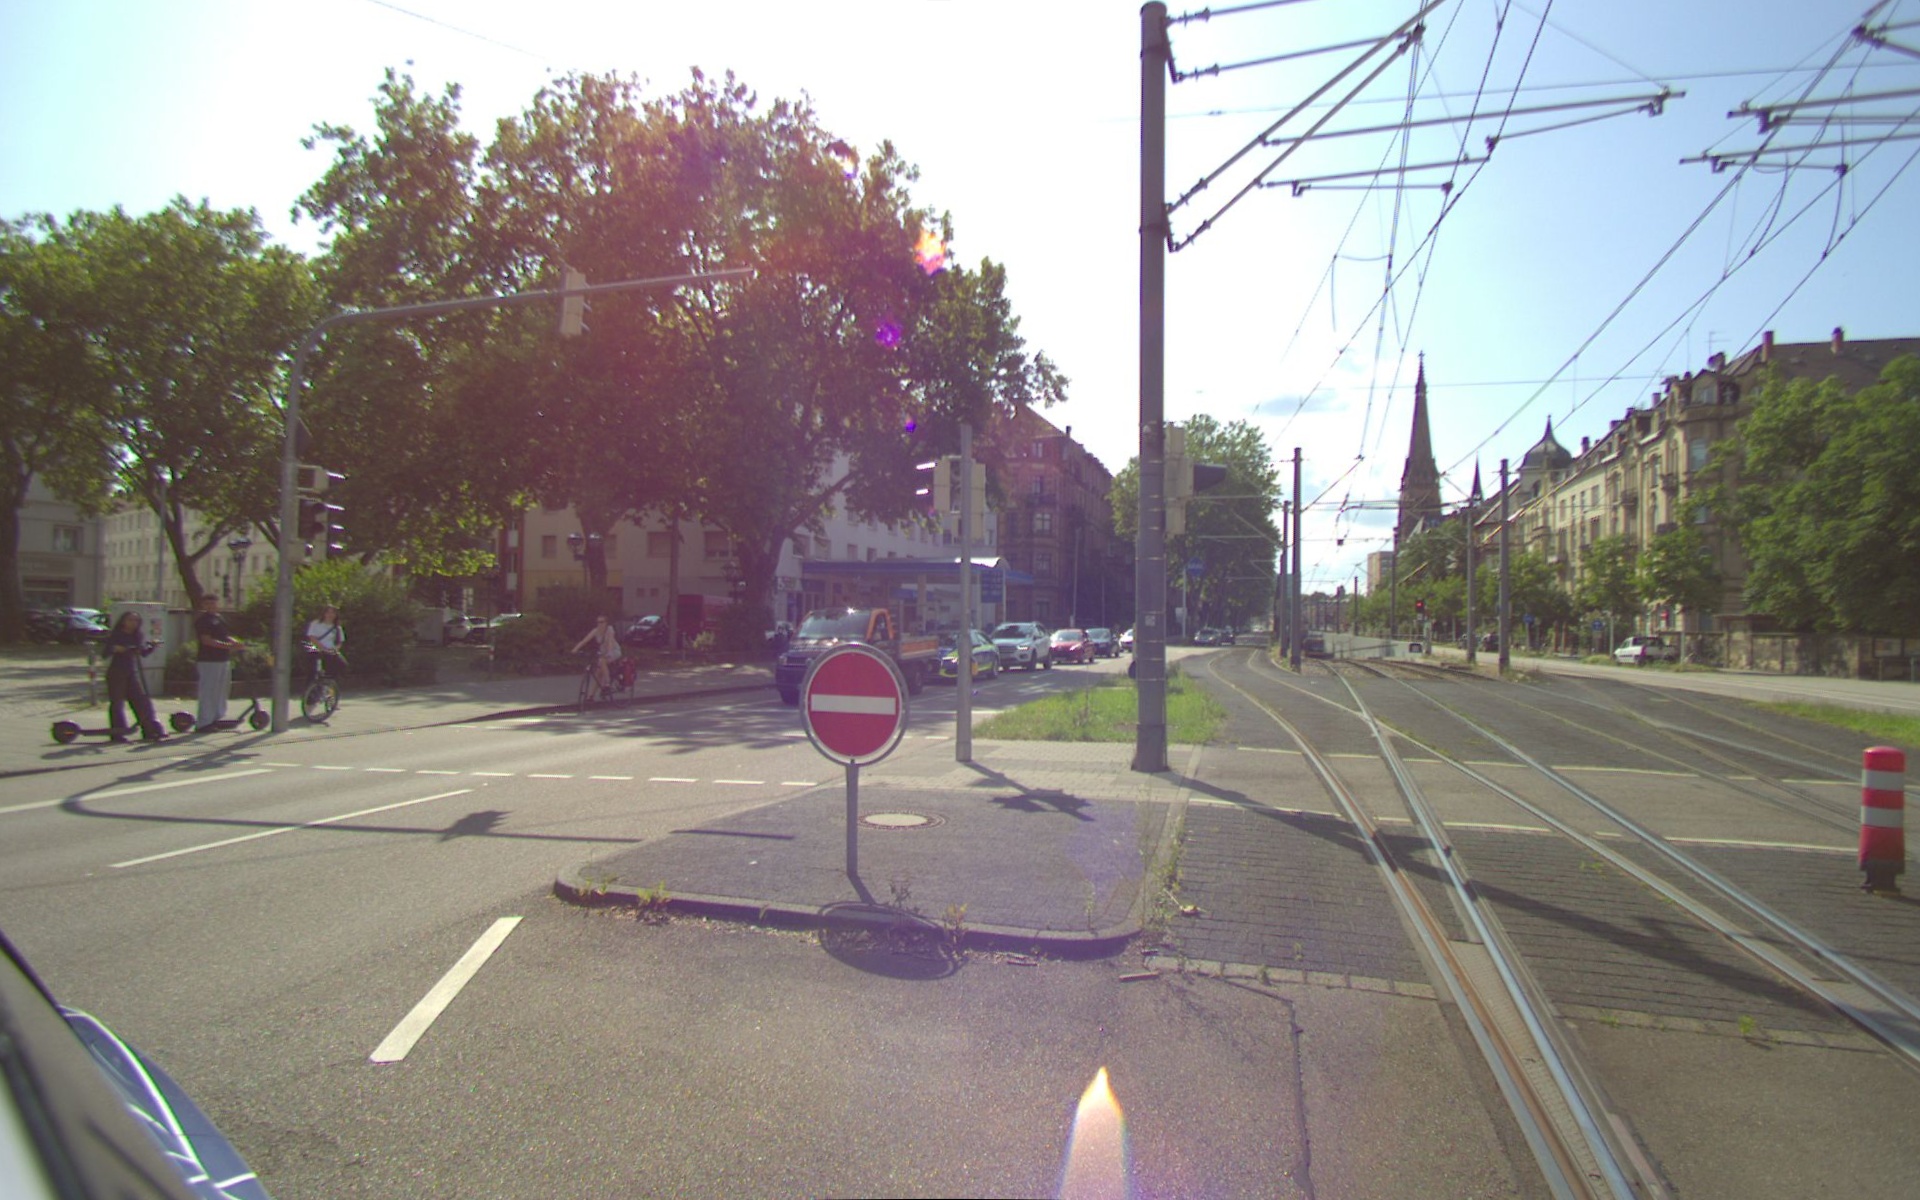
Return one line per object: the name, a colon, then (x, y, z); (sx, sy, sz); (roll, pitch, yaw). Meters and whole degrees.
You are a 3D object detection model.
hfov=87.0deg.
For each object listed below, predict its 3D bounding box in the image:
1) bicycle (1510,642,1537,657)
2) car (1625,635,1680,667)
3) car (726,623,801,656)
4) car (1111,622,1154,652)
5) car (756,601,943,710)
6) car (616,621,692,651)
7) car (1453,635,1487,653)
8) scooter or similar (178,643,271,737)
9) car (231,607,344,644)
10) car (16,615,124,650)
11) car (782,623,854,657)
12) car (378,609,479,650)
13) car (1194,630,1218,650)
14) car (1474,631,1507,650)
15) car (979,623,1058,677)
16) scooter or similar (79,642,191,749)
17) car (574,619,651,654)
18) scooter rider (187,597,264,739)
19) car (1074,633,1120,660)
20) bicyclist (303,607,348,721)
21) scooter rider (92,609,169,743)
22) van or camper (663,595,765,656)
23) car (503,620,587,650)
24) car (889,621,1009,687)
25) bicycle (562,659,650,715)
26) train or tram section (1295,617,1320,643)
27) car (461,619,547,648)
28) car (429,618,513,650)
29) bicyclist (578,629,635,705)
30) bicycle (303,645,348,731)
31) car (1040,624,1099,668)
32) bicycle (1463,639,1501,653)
bicycle: (42.642, 3.713, 76.578); (1.694, 1.077, 0.469); (1, -2, 13)
car: (34.710, 2.524, 50.789); (1.665, 1.427, 3.810); (2, 0, 26)
car: (-8.926, 1.787, 46.191); (1.742, 1.421, 3.978); (0, -1, 16)
car: (10.601, 2.207, 61.916); (1.937, 1.619, 5.048); (0, 0, 17)
car: (-2.160, 1.033, 21.635); (2.064, 2.002, 5.306); (0, 0, 17)
car: (-14.364, 1.669, 47.712); (1.465, 1.304, 3.978); (-2, -2, 16)
car: (47.789, 4.092, 94.878); (1.787, 1.538, 4.469); (-1, -2, 14)
scooter or similar: (-9.833, 1.186, 13.540); (0.545, 1.180, 0.864); (1, -2, 43)
car: (-37.066, 1.403, 55.950); (1.981, 1.886, 5.228); (-2, -2, 14)
car: (-41.395, 1.488, 47.102); (4.046, 1.545, 1.842); (1, -2, 16)
car: (-6.312, 1.764, 45.478); (1.742, 1.421, 3.978); (0, -1, 16)
car: (-27.401, 1.534, 52.380); (1.982, 1.949, 4.657); (-2, -2, 16)
car: (20.923, 3.382, 86.076); (1.751, 1.510, 4.163); (0, -1, 17)
car: (44.747, 3.402, 85.411); (1.677, 1.514, 4.680); (0, -1, 18)
car: (2.121, 1.674, 35.336); (1.750, 1.619, 4.653); (0, 0, 17)
scooter or similar: (-10.143, 1.160, 12.469); (0.863, 1.235, 0.545); (3, -1, -4)
car: (-16.761, 1.737, 48.959); (1.517, 1.616, 3.978); (-1, -2, 16)
scooter rider: (-9.828, 0.893, 13.547); (0.545, 1.824, 0.670); (1, -2, 43)
car: (6.742, 2.266, 49.547); (1.609, 1.198, 3.610); (0, -1, 19)
bicyclist: (-9.706, 0.961, 15.477); (0.499, 1.681, 0.585); (3, 0, -33)
scooter rider: (-10.207, 0.919, 12.469); (0.431, 1.605, 0.545); (2, -1, -4)
van or camper: (-11.461, 1.206, 47.576); (2.092, 2.661, 5.316); (-2, -2, 19)
car: (-20.287, 1.688, 49.668); (1.752, 1.374, 3.978); (-2, -2, 16)
car: (-0.183, 1.454, 28.396); (1.857, 1.665, 5.124); (-1, -2, 17)
bicycle: (-6.493, 1.575, 18.642); (0.468, 0.928, 1.702); (0, -1, 26)
train or tram section: (50.988, 4.369, 148.602); (2.837, 3.607, 12.766); (1, -1, 16)
car: (-22.656, 1.658, 50.389); (1.752, 1.374, 3.978); (-2, -2, 16)
car: (-24.977, 1.713, 51.823); (1.649, 1.531, 3.978); (-2, -2, 16)
bicyclist: (-6.494, 1.207, 18.635); (0.468, 1.353, 0.901); (0, -1, 26)
bicycle: (-9.469, 1.281, 15.082); (0.499, 1.121, 1.636); (3, 0, -33)
car: (4.587, 1.845, 41.946); (1.703, 1.619, 4.120); (0, 0, 17)
bicycle: (47.143, 4.143, 91.401); (2.919, 1.256, 0.792); (1, -2, 6)
